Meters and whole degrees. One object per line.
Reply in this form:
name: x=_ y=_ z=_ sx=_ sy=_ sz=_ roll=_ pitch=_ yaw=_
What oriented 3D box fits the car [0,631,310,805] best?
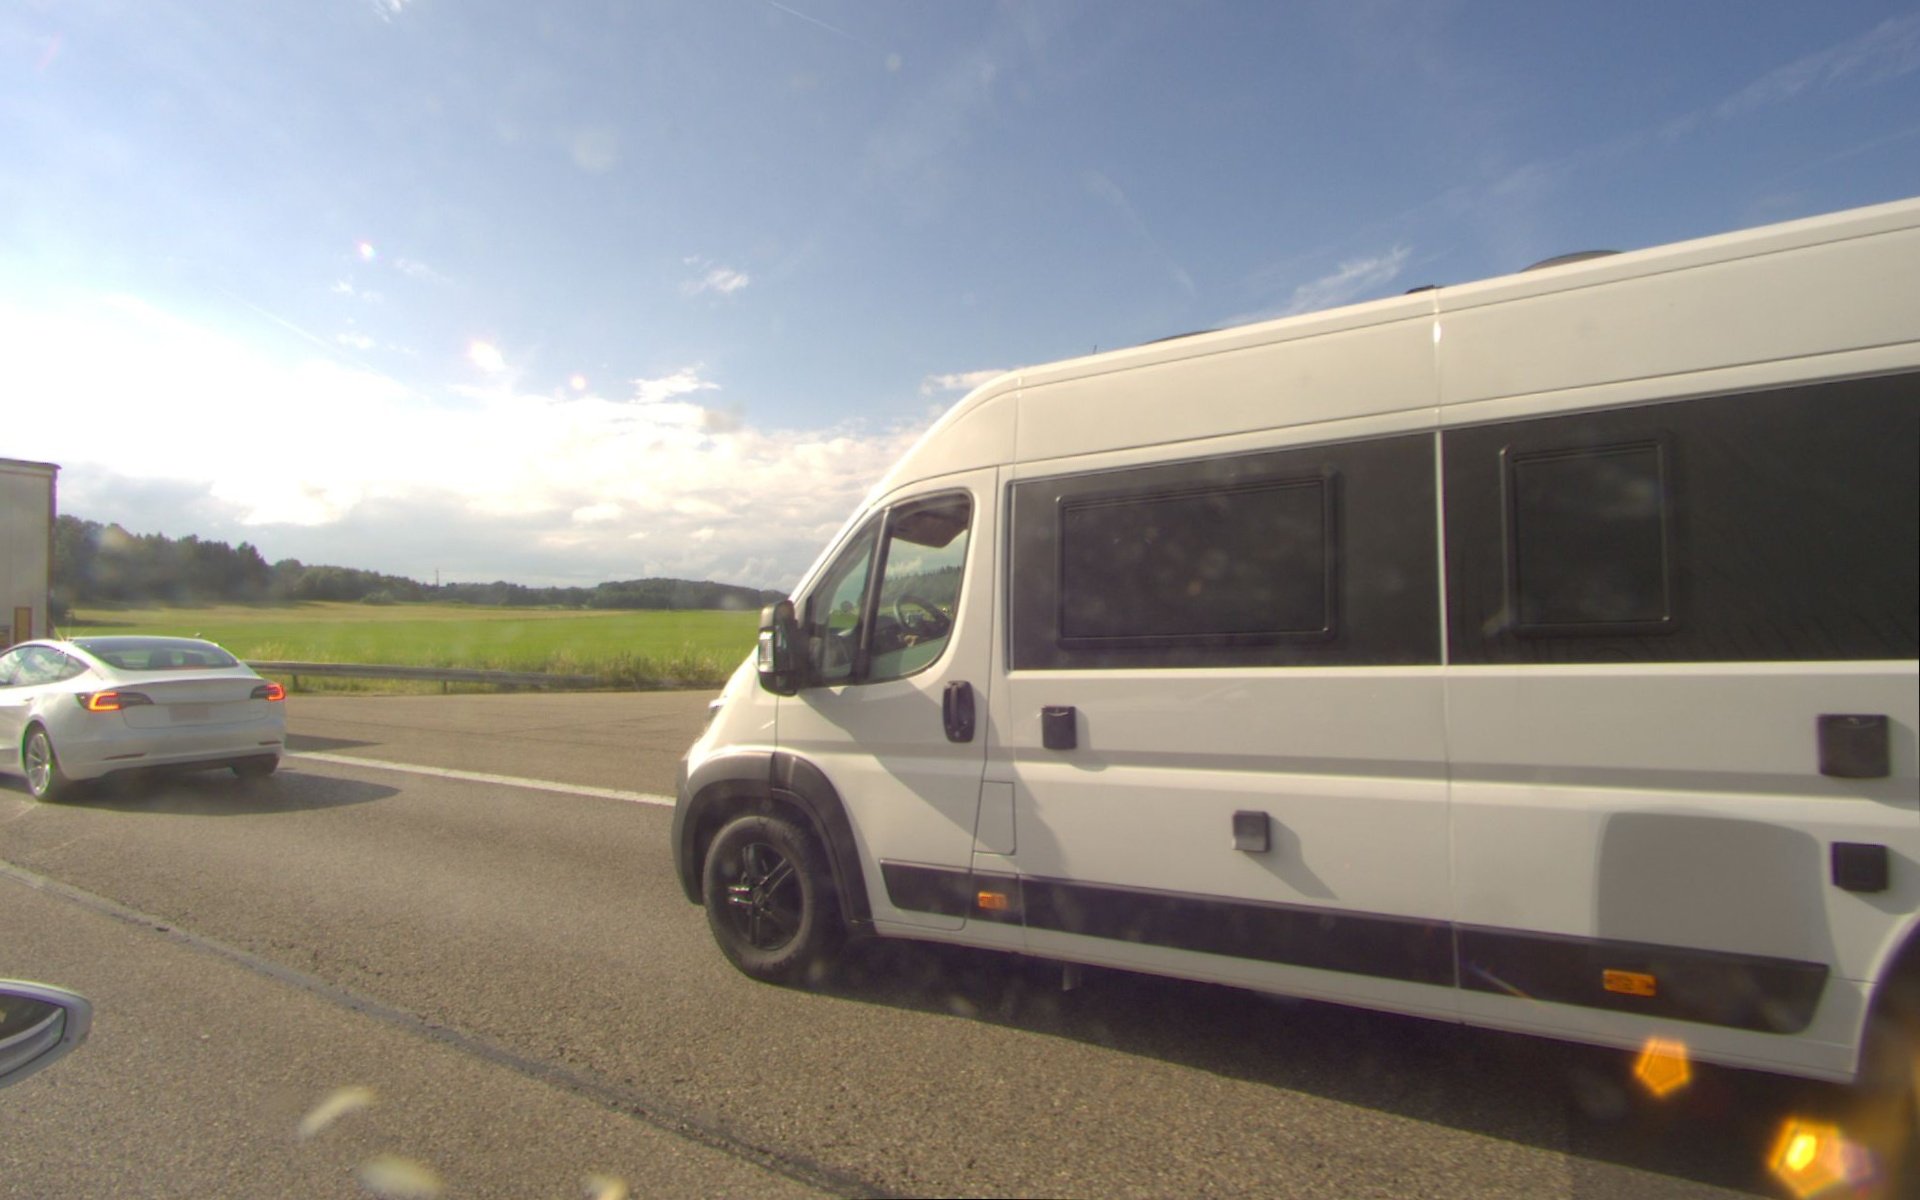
car: x=-8.687 y=1.035 z=10.149 sx=4.371 sy=1.412 sz=1.786 roll=-1 pitch=-1 yaw=31

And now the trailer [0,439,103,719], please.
trailer: x=-19.635 y=-0.088 z=17.794 sx=13.182 sy=4.061 sz=3.124 roll=-2 pitch=-2 yaw=33

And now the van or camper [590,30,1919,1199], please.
van or camper: x=1.566 y=0.167 z=3.791 sx=6.241 sy=2.716 sz=2.211 roll=-1 pitch=-1 yaw=32

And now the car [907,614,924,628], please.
car: x=-4.731 y=2.251 z=106.904 sx=1.676 sy=1.450 sz=4.232 roll=-1 pitch=-1 yaw=-4
